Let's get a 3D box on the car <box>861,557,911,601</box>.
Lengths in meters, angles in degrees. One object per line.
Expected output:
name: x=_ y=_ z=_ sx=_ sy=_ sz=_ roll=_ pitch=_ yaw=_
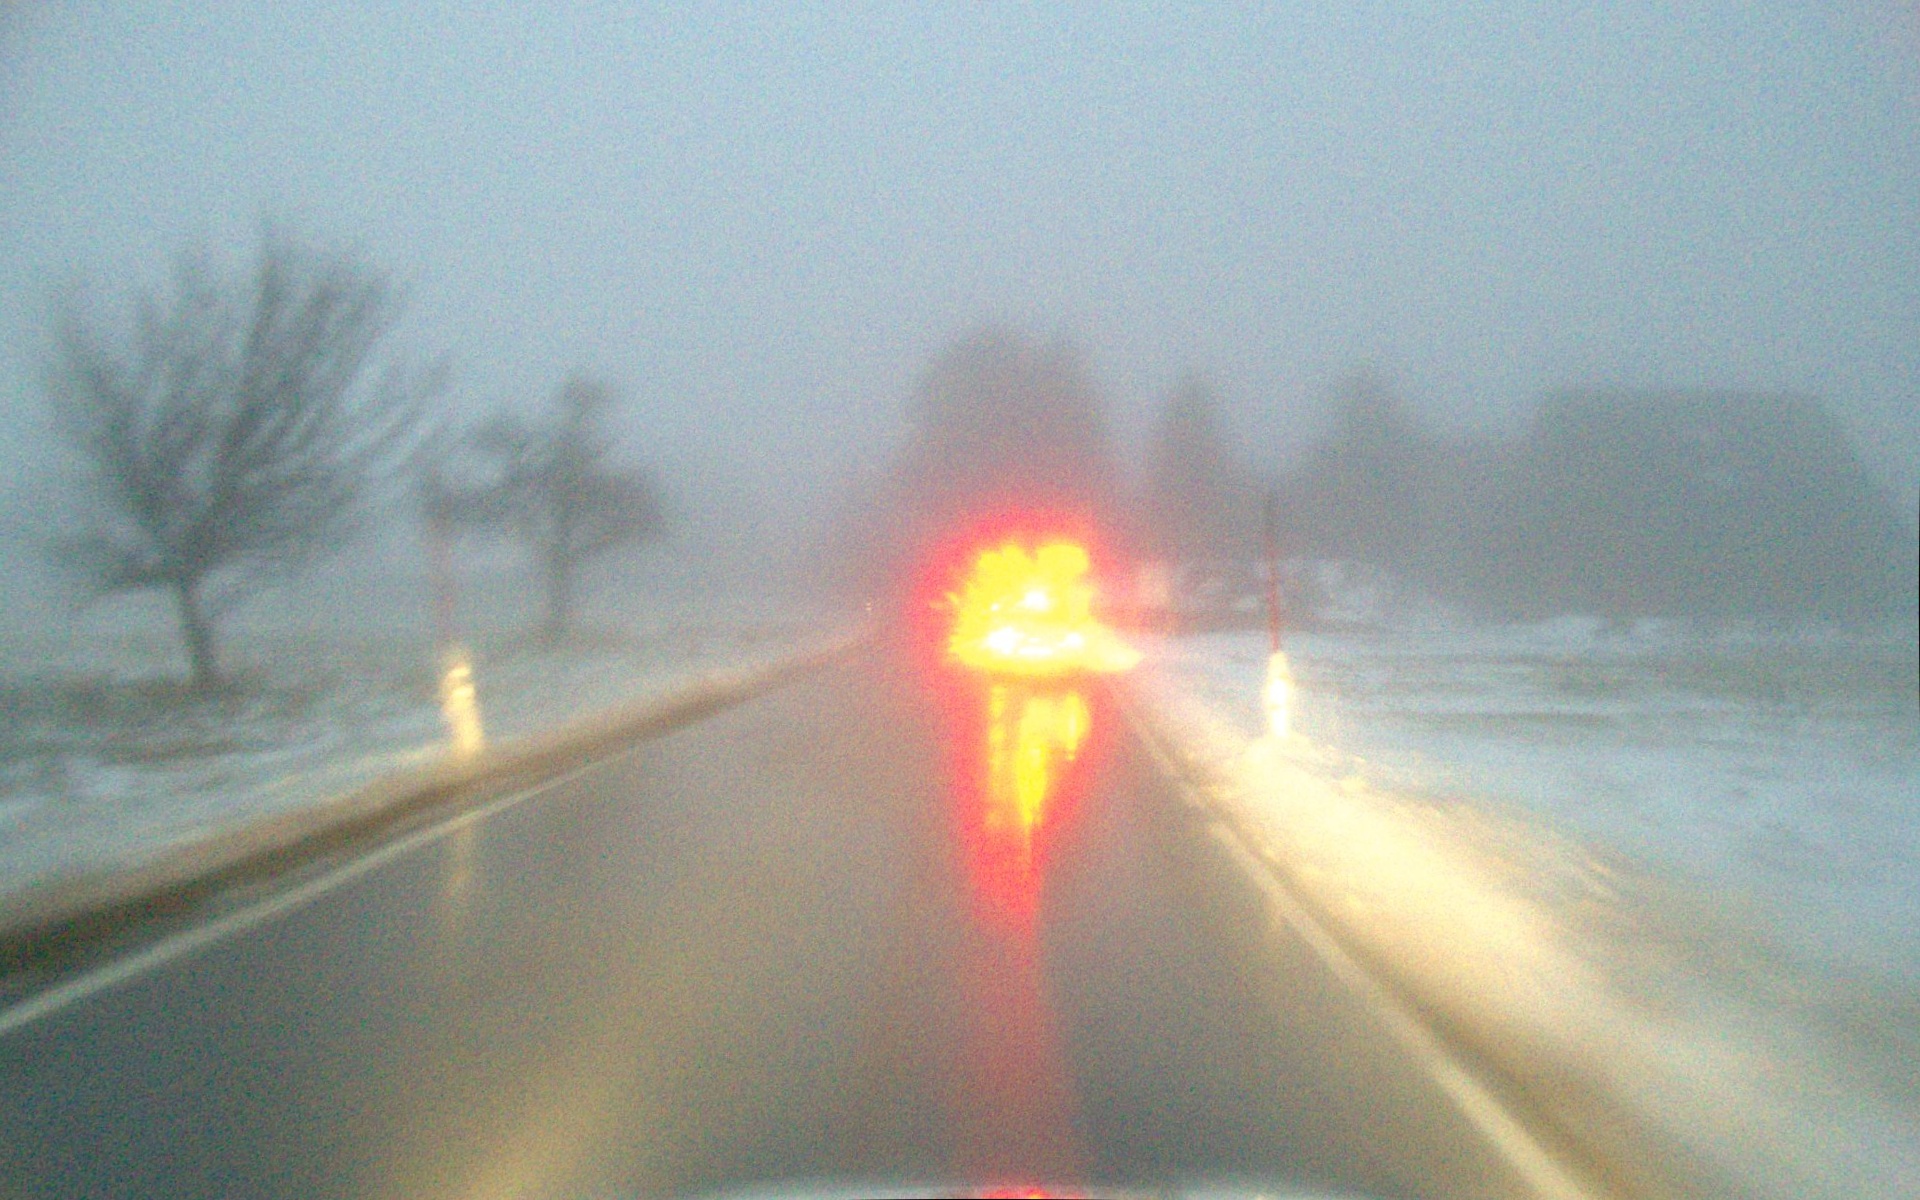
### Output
car: x=-2.632 y=-0.729 z=59.332 sx=1.491 sy=1.534 sz=3.054 roll=-1 pitch=0 yaw=2

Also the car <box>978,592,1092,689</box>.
car: x=1.247 y=0.690 z=28.894 sx=1.672 sy=1.489 sz=3.999 roll=3 pitch=-1 yaw=-1

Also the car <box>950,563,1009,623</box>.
car: x=0.544 y=-0.189 z=43.819 sx=1.448 sy=1.534 sz=3.054 roll=-1 pitch=0 yaw=2
